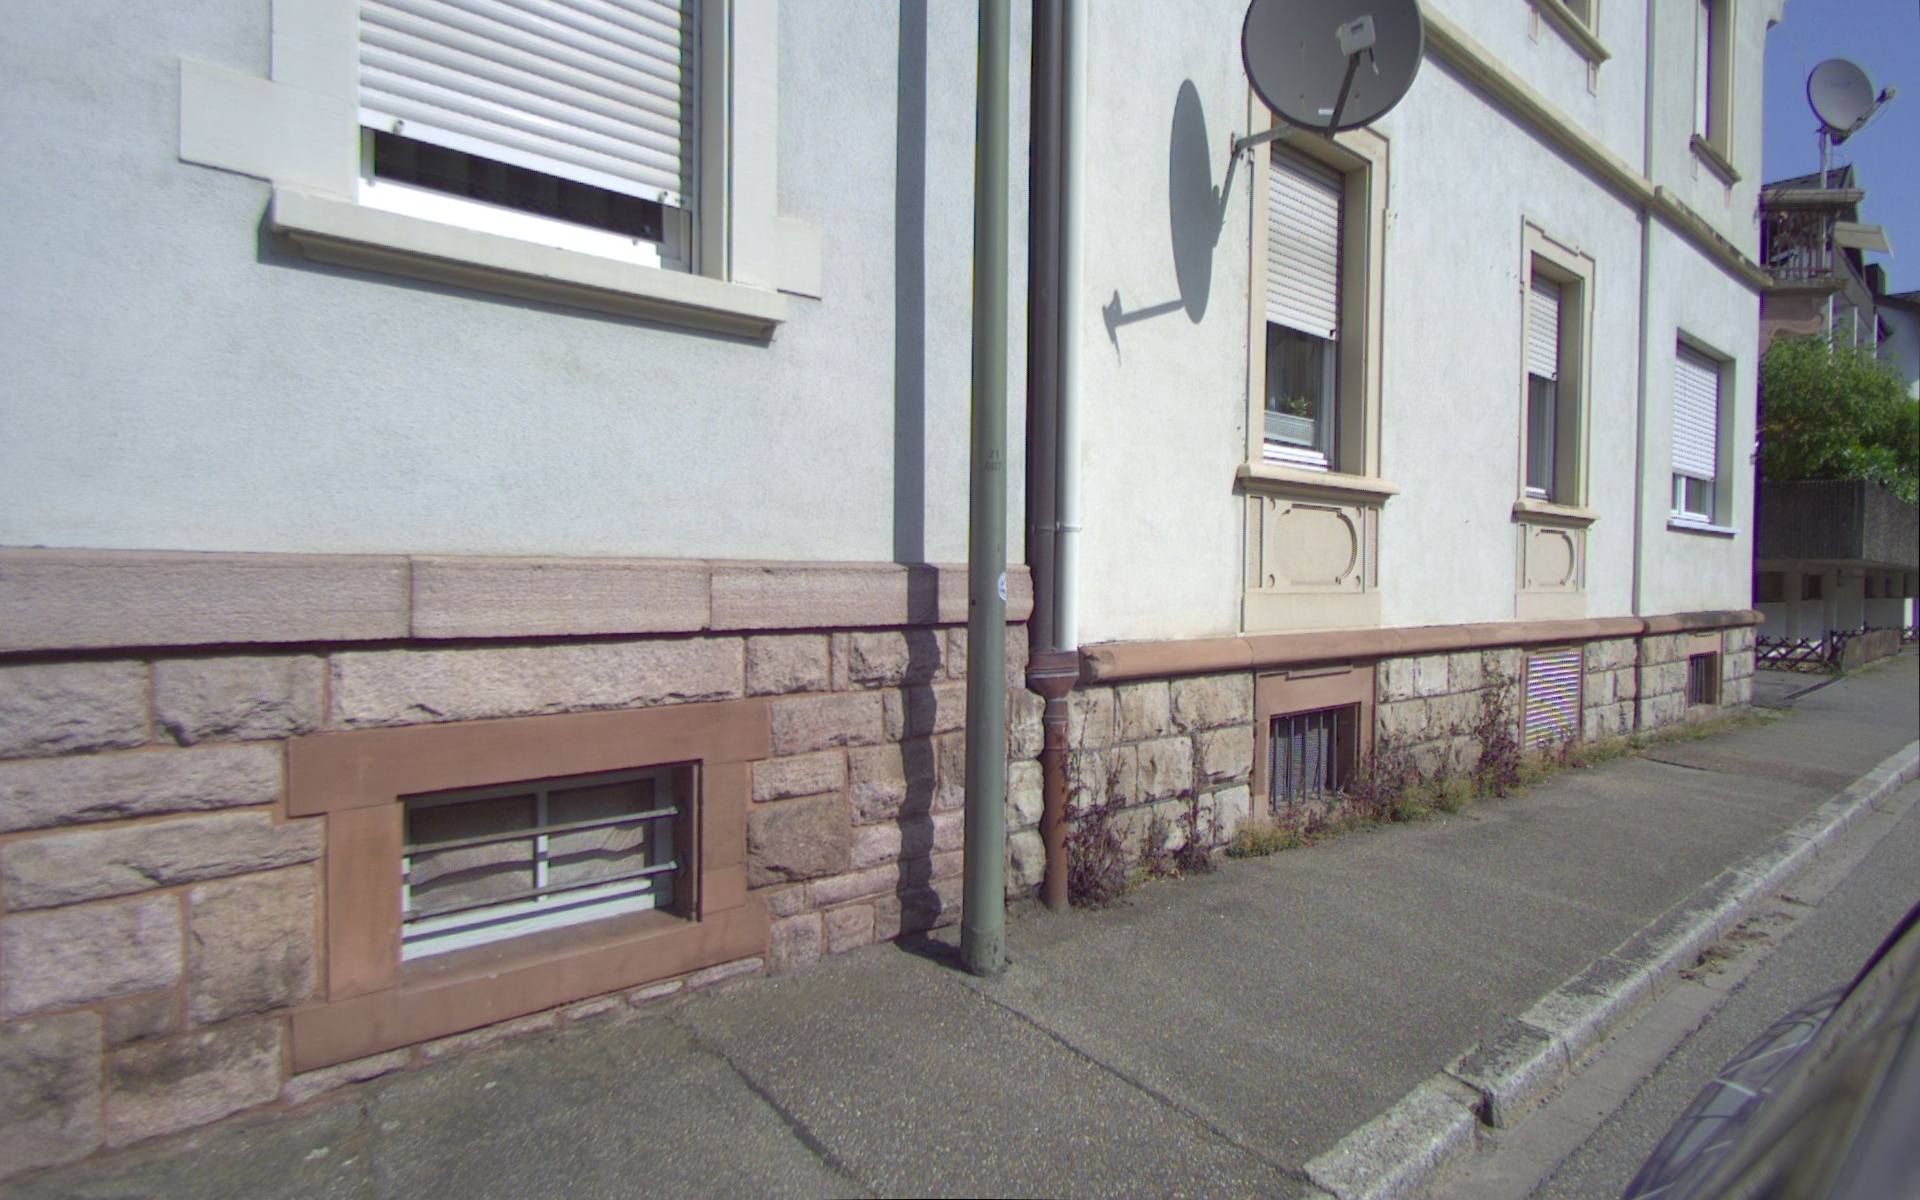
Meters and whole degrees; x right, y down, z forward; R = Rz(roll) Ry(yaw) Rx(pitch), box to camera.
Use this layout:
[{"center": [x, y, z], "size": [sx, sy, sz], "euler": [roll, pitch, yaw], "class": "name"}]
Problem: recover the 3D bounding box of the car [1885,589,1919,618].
[{"center": [50.516, 0.199, 52.364], "size": [1.672, 1.498, 3.830], "euler": [1, -1, -43], "class": "car"}]
